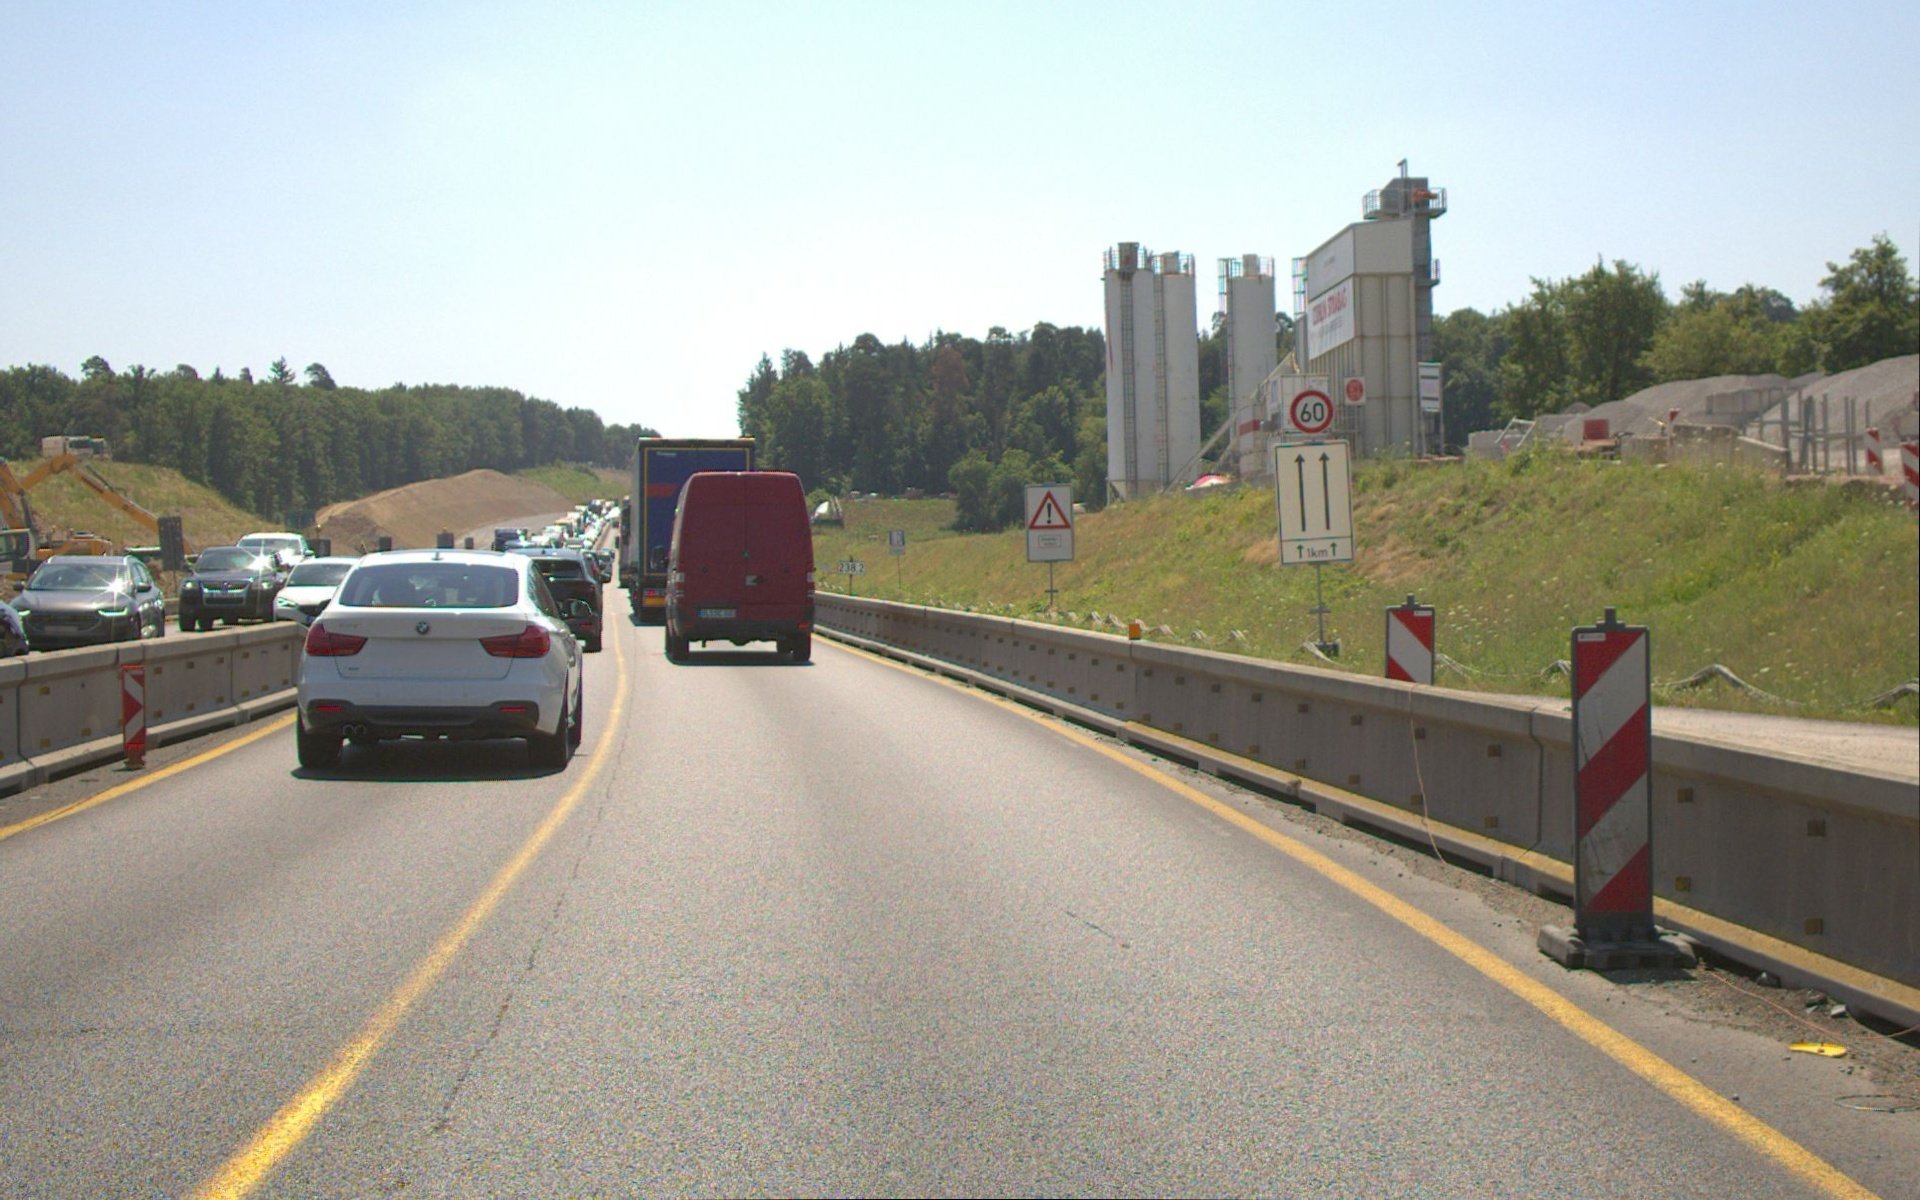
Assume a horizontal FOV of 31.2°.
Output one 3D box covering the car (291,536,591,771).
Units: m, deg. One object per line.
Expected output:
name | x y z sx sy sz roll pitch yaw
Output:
car | -3.666 0.311 25.021 1.795 1.529 5.074 0 1 -4

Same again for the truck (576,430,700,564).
truck | -11.722 -3.728 126.047 3.683 4.675 9.753 -1 1 -1

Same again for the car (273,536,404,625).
car | -10.729 -0.371 59.612 1.815 1.450 4.636 -1 1 -5

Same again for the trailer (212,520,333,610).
trailer | -15.467 -0.814 77.574 2.130 1.975 5.236 0 1 -5

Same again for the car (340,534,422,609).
car | -12.669 -0.641 75.401 1.693 1.574 4.135 -1 1 -9

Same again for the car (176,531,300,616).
car | -14.588 -0.564 69.667 1.923 1.673 4.718 0 1 -5

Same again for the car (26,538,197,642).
car | -12.234 -0.178 49.837 1.821 1.418 4.648 -1 1 -7

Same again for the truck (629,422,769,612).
truck | -6.105 -1.910 79.891 3.015 4.138 8.274 -1 1 -5

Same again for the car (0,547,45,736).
car | -8.101 0.332 24.949 1.808 1.409 4.399 0 1 -1

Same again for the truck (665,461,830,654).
truck | -3.190 -0.647 50.375 2.111 2.624 6.486 -1 1 -6

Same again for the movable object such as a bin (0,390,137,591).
movable object such as a bin | -36.250 -4.233 133.778 7.636 7.687 3.446 -1 1 -4

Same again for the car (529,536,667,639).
car | -5.656 -0.224 54.137 1.795 1.529 3.931 -1 1 -1

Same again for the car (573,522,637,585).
car | -11.543 -1.518 111.898 1.993 2.007 4.001 -1 1 -5

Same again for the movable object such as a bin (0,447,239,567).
movable object such as a bin | -54.101 -5.700 211.497 18.707 7.206 3.617 -1 1 -7
